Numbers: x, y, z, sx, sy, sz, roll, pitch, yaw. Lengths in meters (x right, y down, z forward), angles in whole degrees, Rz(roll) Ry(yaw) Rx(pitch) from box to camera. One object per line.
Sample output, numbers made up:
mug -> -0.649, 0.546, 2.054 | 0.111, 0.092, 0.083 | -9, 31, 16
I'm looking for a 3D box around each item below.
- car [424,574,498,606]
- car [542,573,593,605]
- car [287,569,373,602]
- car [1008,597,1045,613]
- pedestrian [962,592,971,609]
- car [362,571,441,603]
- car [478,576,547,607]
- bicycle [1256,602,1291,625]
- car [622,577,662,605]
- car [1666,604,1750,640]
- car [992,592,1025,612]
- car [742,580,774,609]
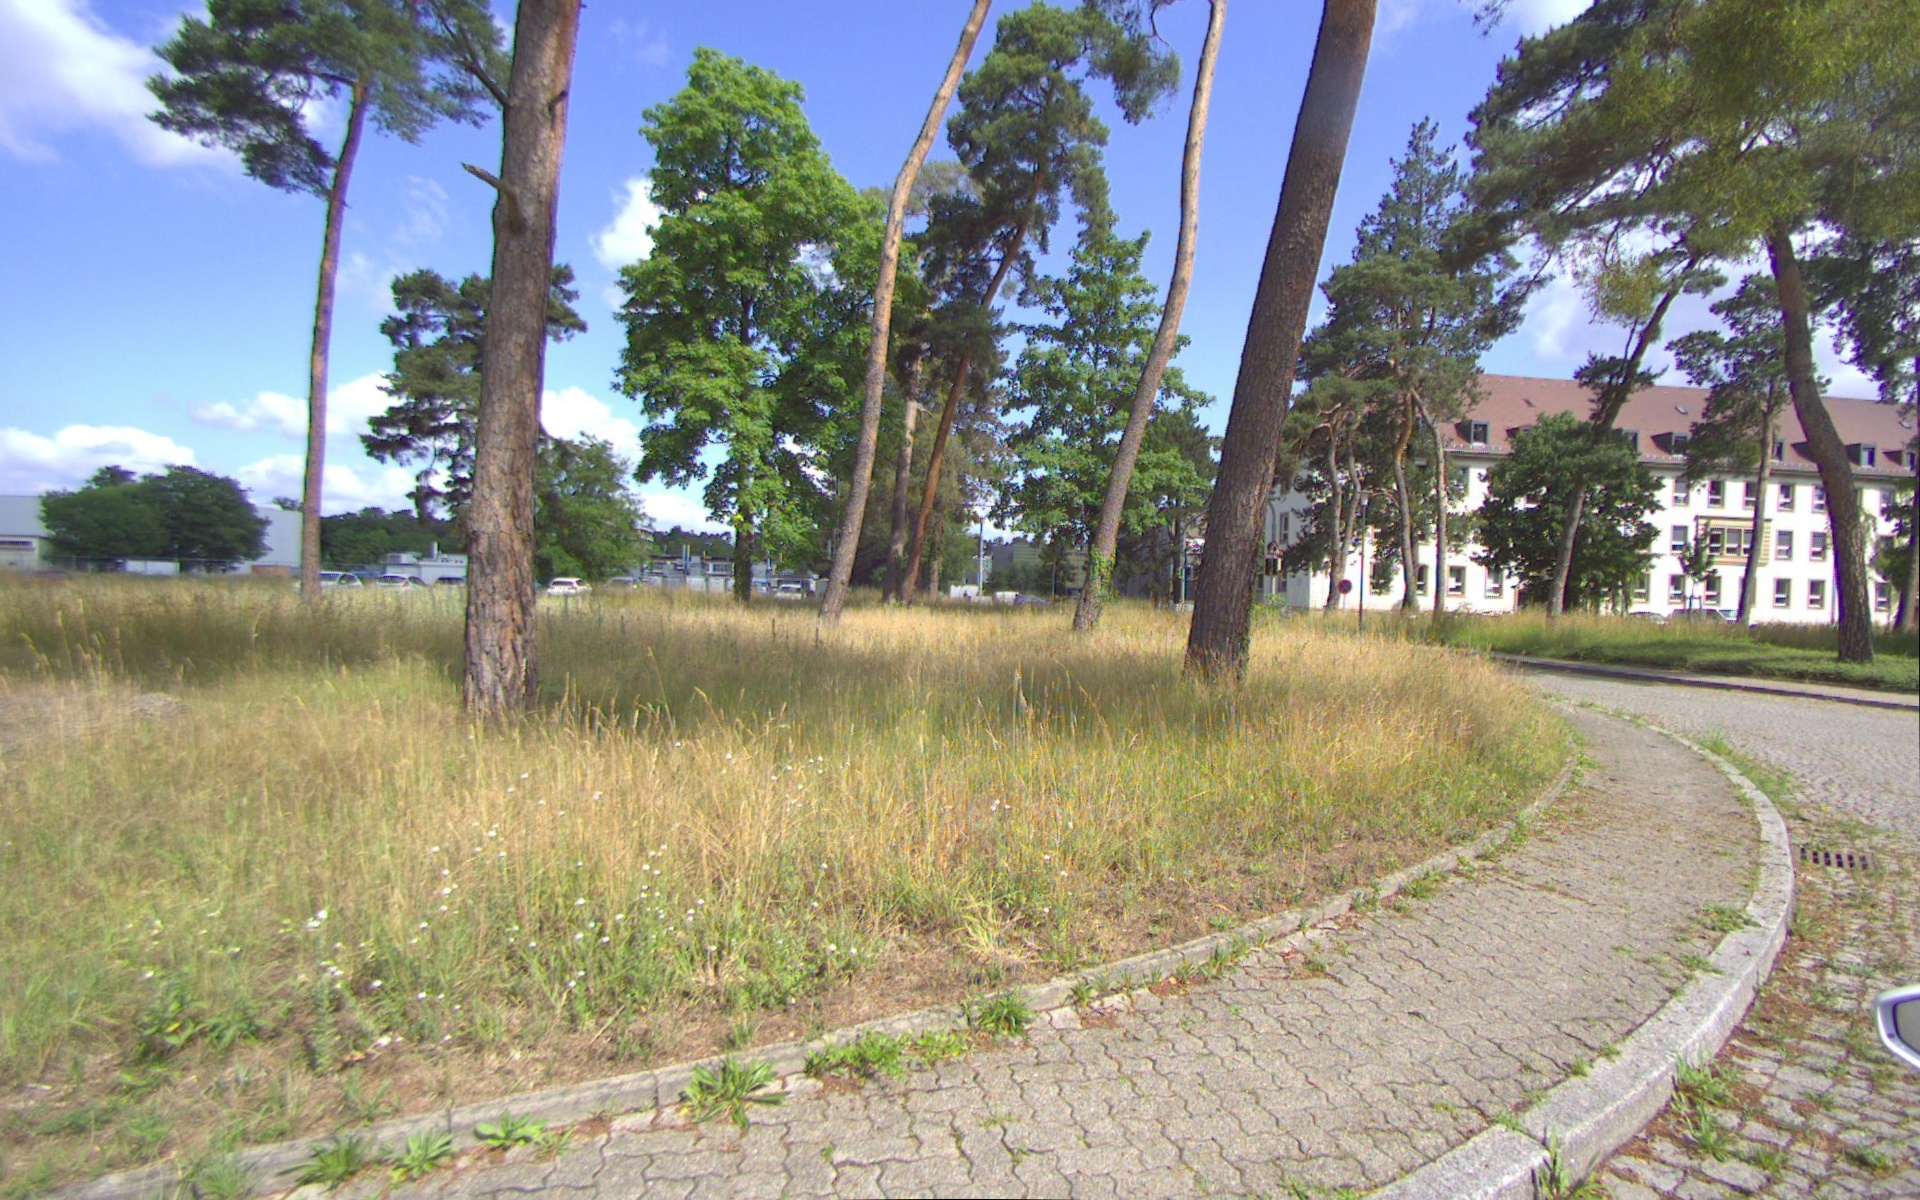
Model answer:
car -> -22.915, -0.437, 46.300 | 1.866, 1.337, 4.072 | 2, 0, -9
car -> -22.393, -0.620, 57.434 | 1.866, 1.725, 4.072 | 2, 0, -9
car -> -28.734, -0.643, 45.961 | 1.866, 1.367, 4.064 | 2, 0, -9
car -> 6.874, 0.516, 104.018 | 3.618, 1.523, 1.730 | 2, 0, 1
pedestrian -> 0.780, 0.051, 120.165 | 0.949, 2.040, 1.054 | 2, 0, 0
car -> -25.724, -0.584, 46.418 | 1.866, 1.356, 4.072 | 2, 0, -9
car -> -20.562, -0.383, 46.351 | 1.866, 1.327, 4.072 | 2, 0, -9
bicycle -> 15.567, 0.672, 49.916 | 1.554, 1.115, 0.491 | 2, 1, 3
car -> -20.965, -0.568, 66.362 | 1.866, 1.725, 4.072 | 2, 0, -9
car -> 45.235, 1.313, 60.866 | 1.681, 2.018, 4.067 | 2, 0, -7
car -> 5.470, 0.185, 113.191 | 3.618, 2.116, 1.730 | 2, 0, 1
car -> -13.295, -0.342, 66.261 | 1.866, 1.804, 4.072 | 2, 0, -9
